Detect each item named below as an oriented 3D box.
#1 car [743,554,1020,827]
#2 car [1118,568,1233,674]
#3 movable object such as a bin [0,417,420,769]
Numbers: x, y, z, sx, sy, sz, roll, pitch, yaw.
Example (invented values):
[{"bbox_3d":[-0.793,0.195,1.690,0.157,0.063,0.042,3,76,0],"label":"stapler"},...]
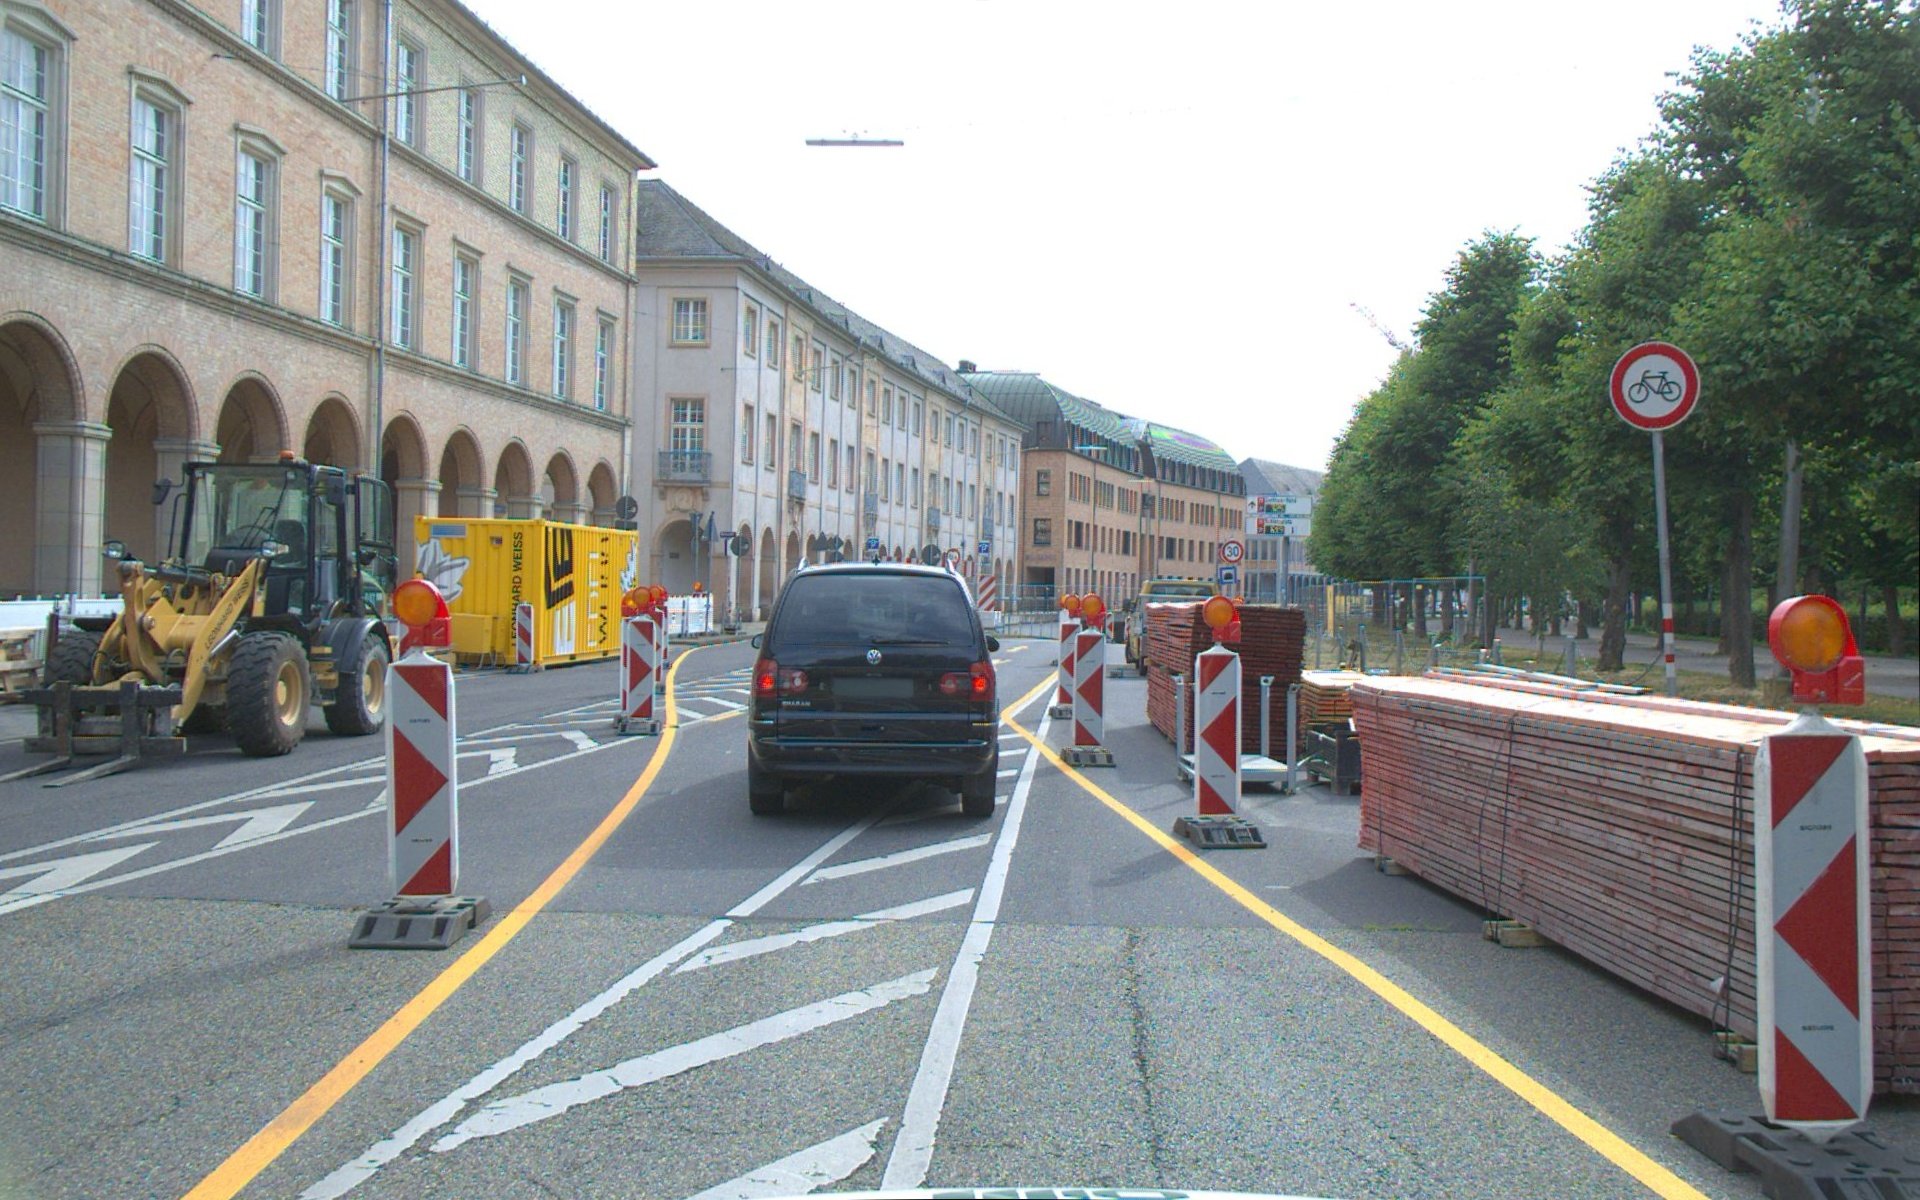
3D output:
[{"bbox_3d":[-0.577,0.568,12.718,1.757,1.738,4.129,1,0,-2],"label":"car"},{"bbox_3d":[4.639,0.393,36.213,1.952,2.048,4.346,1,2,0],"label":"car"},{"bbox_3d":[-6.884,-0.065,15.449,2.072,2.766,4.619,1,0,1],"label":"movable object such as a bin"}]
